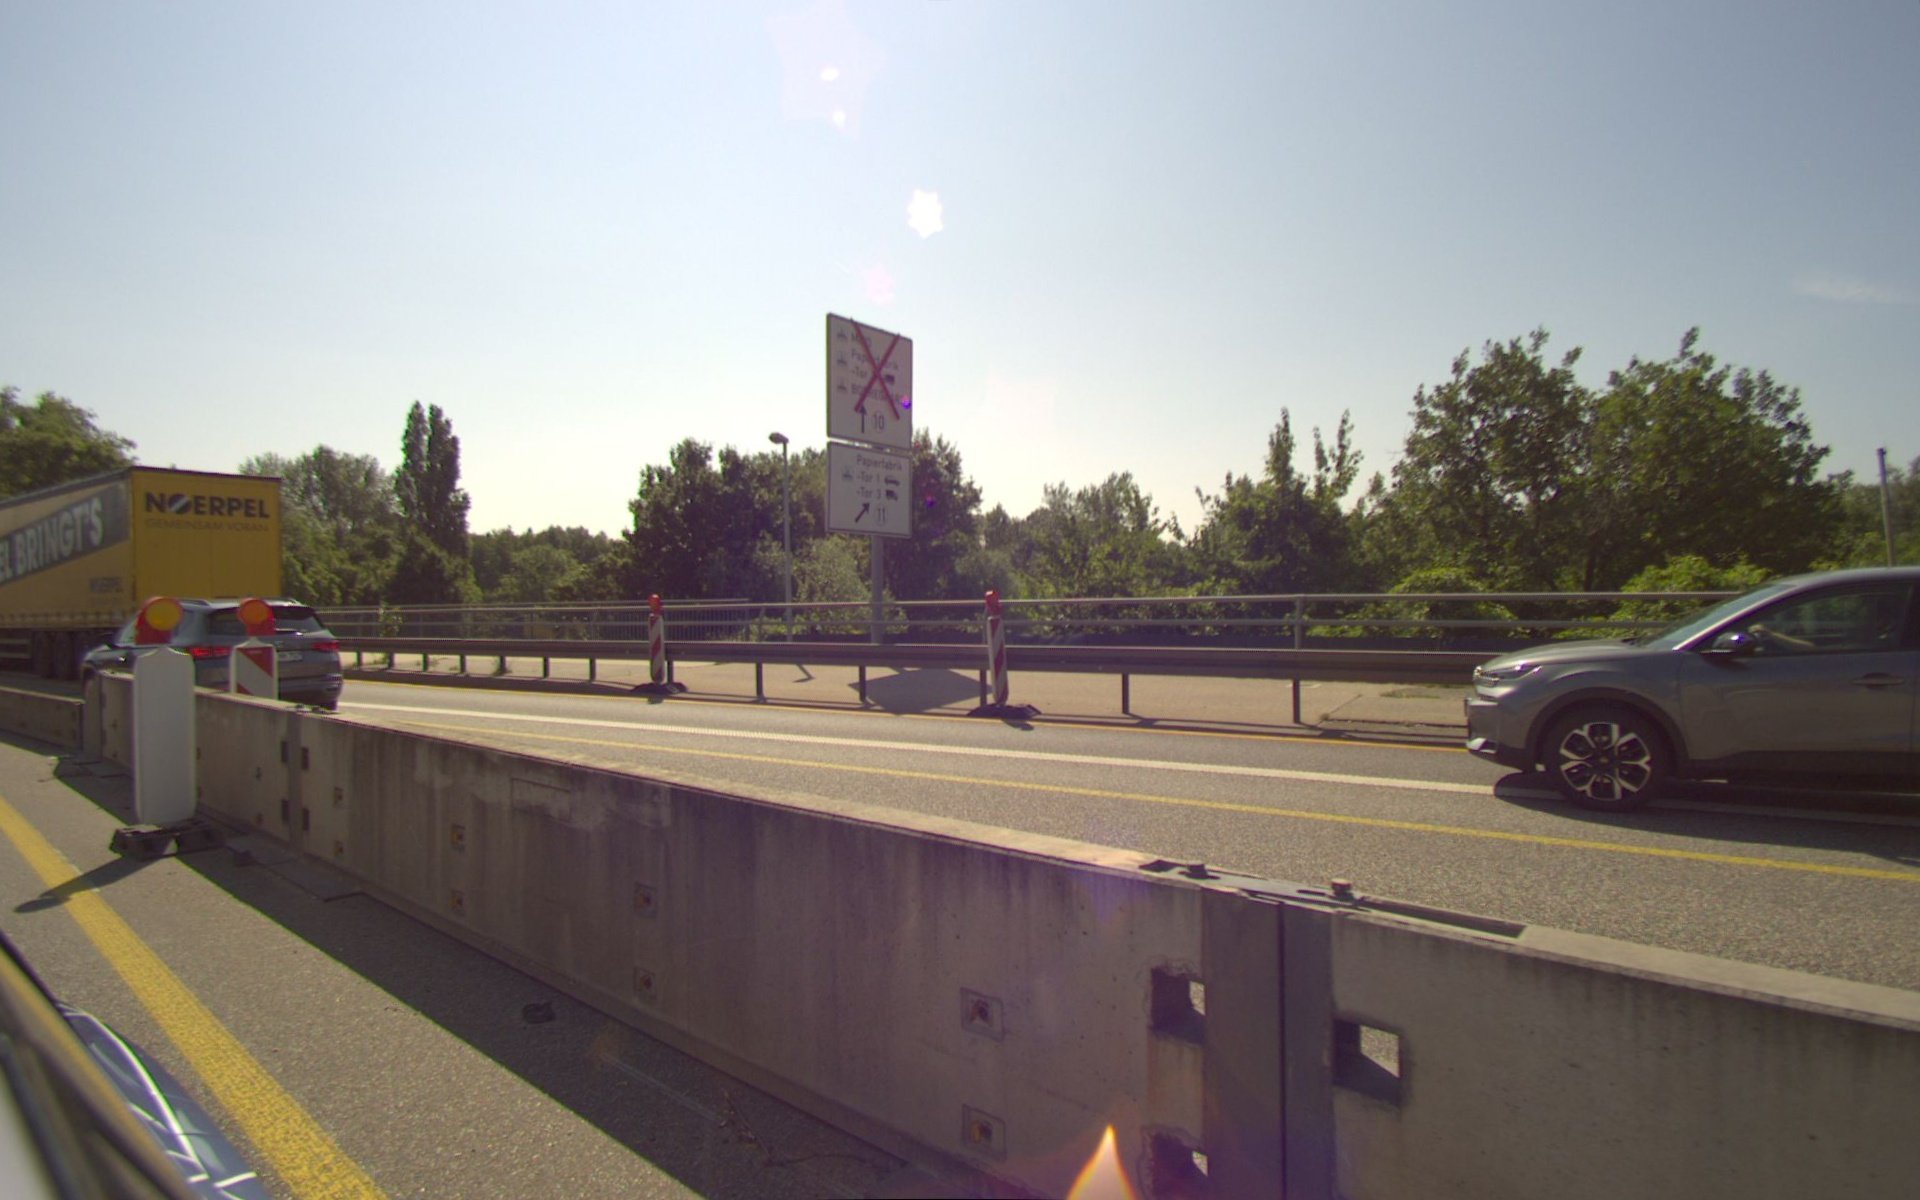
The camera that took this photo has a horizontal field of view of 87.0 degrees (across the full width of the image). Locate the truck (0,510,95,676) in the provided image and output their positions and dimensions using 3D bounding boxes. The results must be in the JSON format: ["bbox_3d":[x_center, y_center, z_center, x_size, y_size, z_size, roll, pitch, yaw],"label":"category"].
[{"bbox_3d":[-26.414,-0.132,27.574,6.398,4.168,2.727,-1,-1,34],"label":"truck"}]

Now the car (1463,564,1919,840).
[{"bbox_3d":[5.766,0.564,6.390,4.455,1.519,1.917,-1,-1,33],"label":"car"}]

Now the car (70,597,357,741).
[{"bbox_3d":[-9.616,0.796,12.973,3.862,1.580,1.776,-1,-1,34],"label":"car"}]

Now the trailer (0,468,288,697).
[{"bbox_3d":[-20.531,-0.219,23.640,14.492,4.168,2.738,-1,-1,34],"label":"trailer"}]
